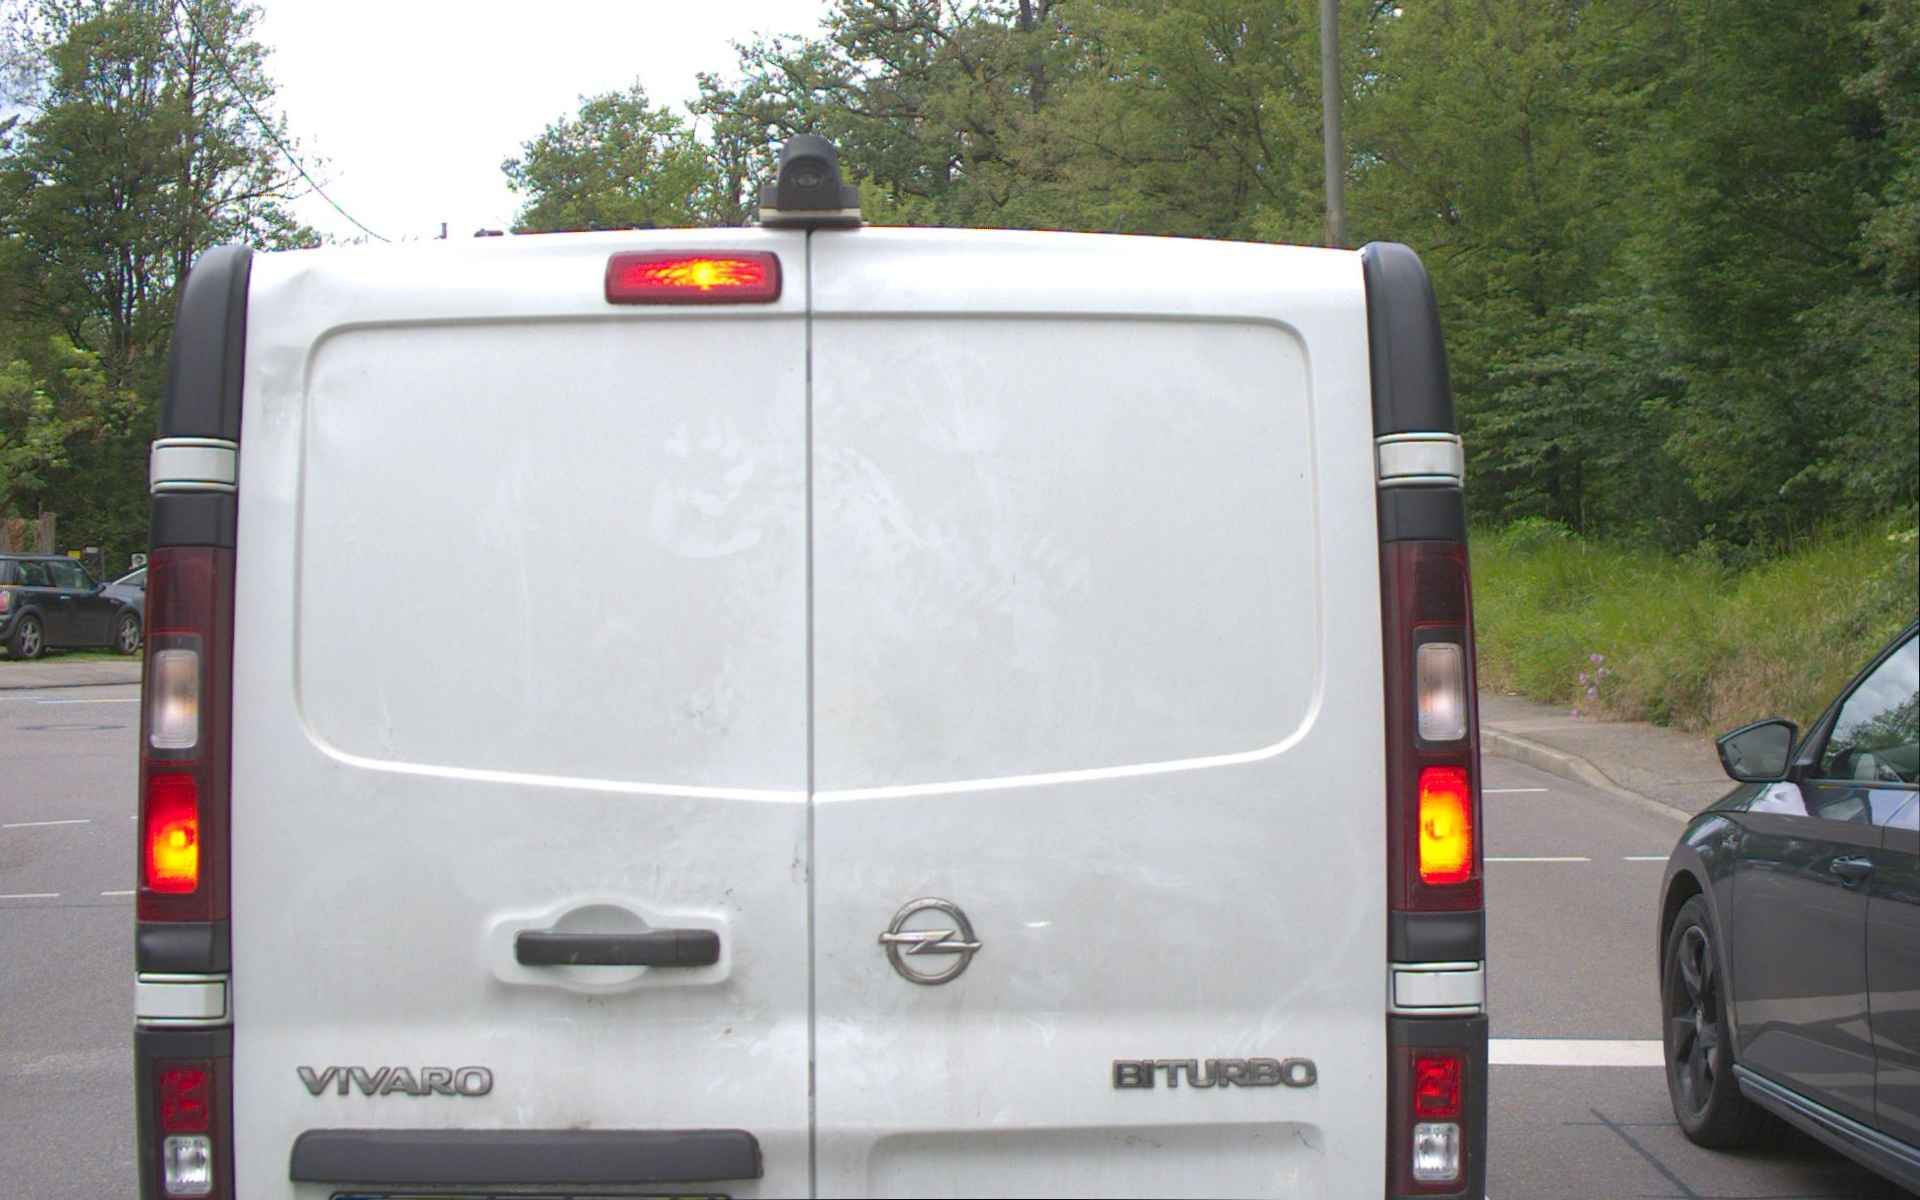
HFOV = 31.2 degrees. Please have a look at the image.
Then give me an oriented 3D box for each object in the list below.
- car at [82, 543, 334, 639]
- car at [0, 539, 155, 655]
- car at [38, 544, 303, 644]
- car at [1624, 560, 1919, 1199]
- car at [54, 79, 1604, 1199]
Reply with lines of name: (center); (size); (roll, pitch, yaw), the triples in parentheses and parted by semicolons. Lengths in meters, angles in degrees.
car: (-12.961, -0.176, 59.198); (4.085, 1.548, 1.855); (-1, 2, -17)
car: (-12.471, -0.067, 45.891); (1.699, 1.444, 3.540); (2, 1, 19)
car: (-12.908, -0.121, 56.161); (4.085, 1.548, 1.855); (-1, 2, -17)
car: (2.690, 0.659, 6.993); (1.792, 1.445, 4.001); (0, 1, -2)
car: (-0.276, 0.349, 6.628); (1.916, 2.046, 4.615); (1, 1, -3)
